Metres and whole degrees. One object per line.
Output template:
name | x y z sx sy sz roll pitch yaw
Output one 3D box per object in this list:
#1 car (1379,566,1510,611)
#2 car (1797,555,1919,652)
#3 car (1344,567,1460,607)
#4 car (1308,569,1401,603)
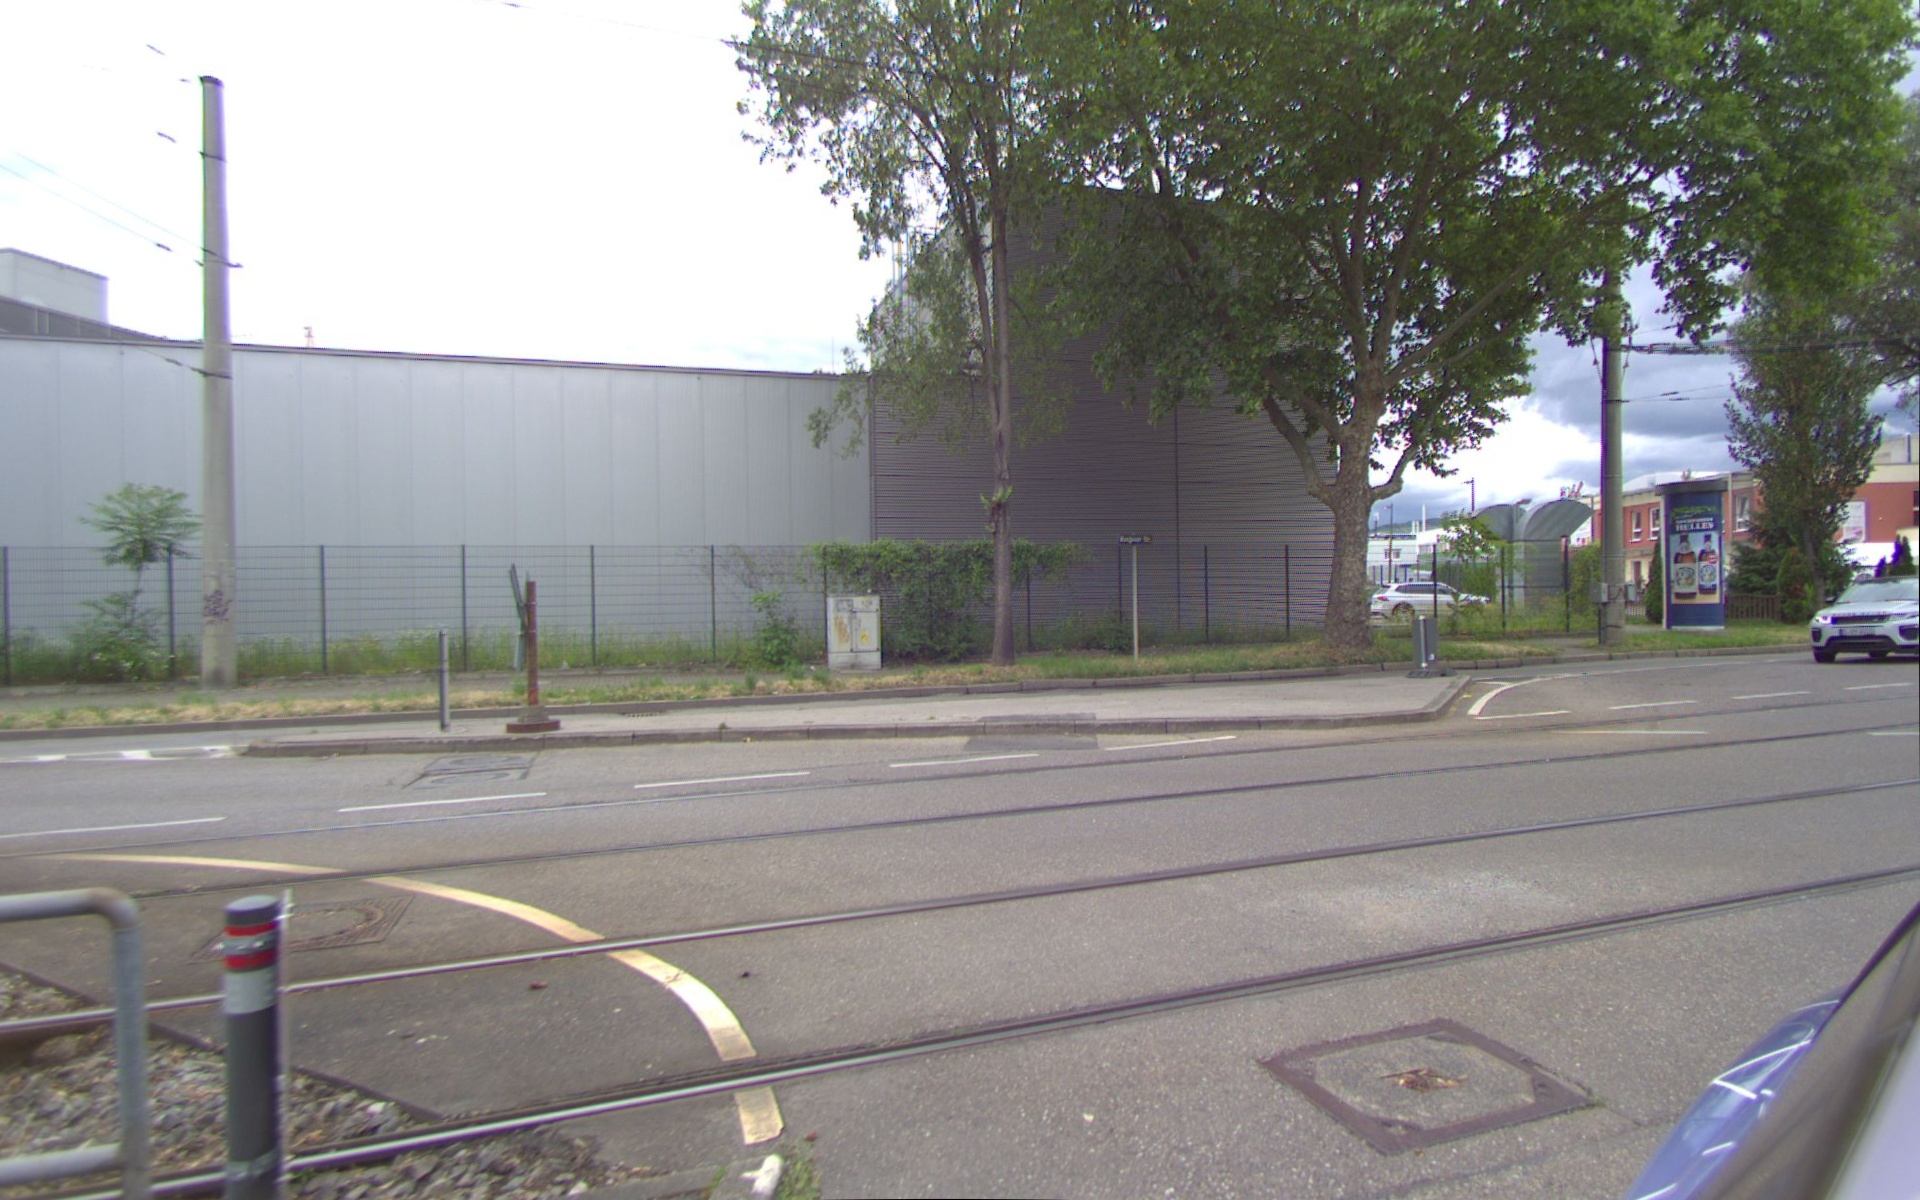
car | 19.913 -0.488 41.773 4.426 1.686 1.995 -1 0 9
car | 18.370 0.086 19.557 4.183 1.712 2.001 0 -2 -30
car | 20.110 -0.578 46.230 4.426 1.686 1.995 -1 0 9
car | 21.725 -0.768 55.902 4.426 1.686 1.995 -1 0 9
